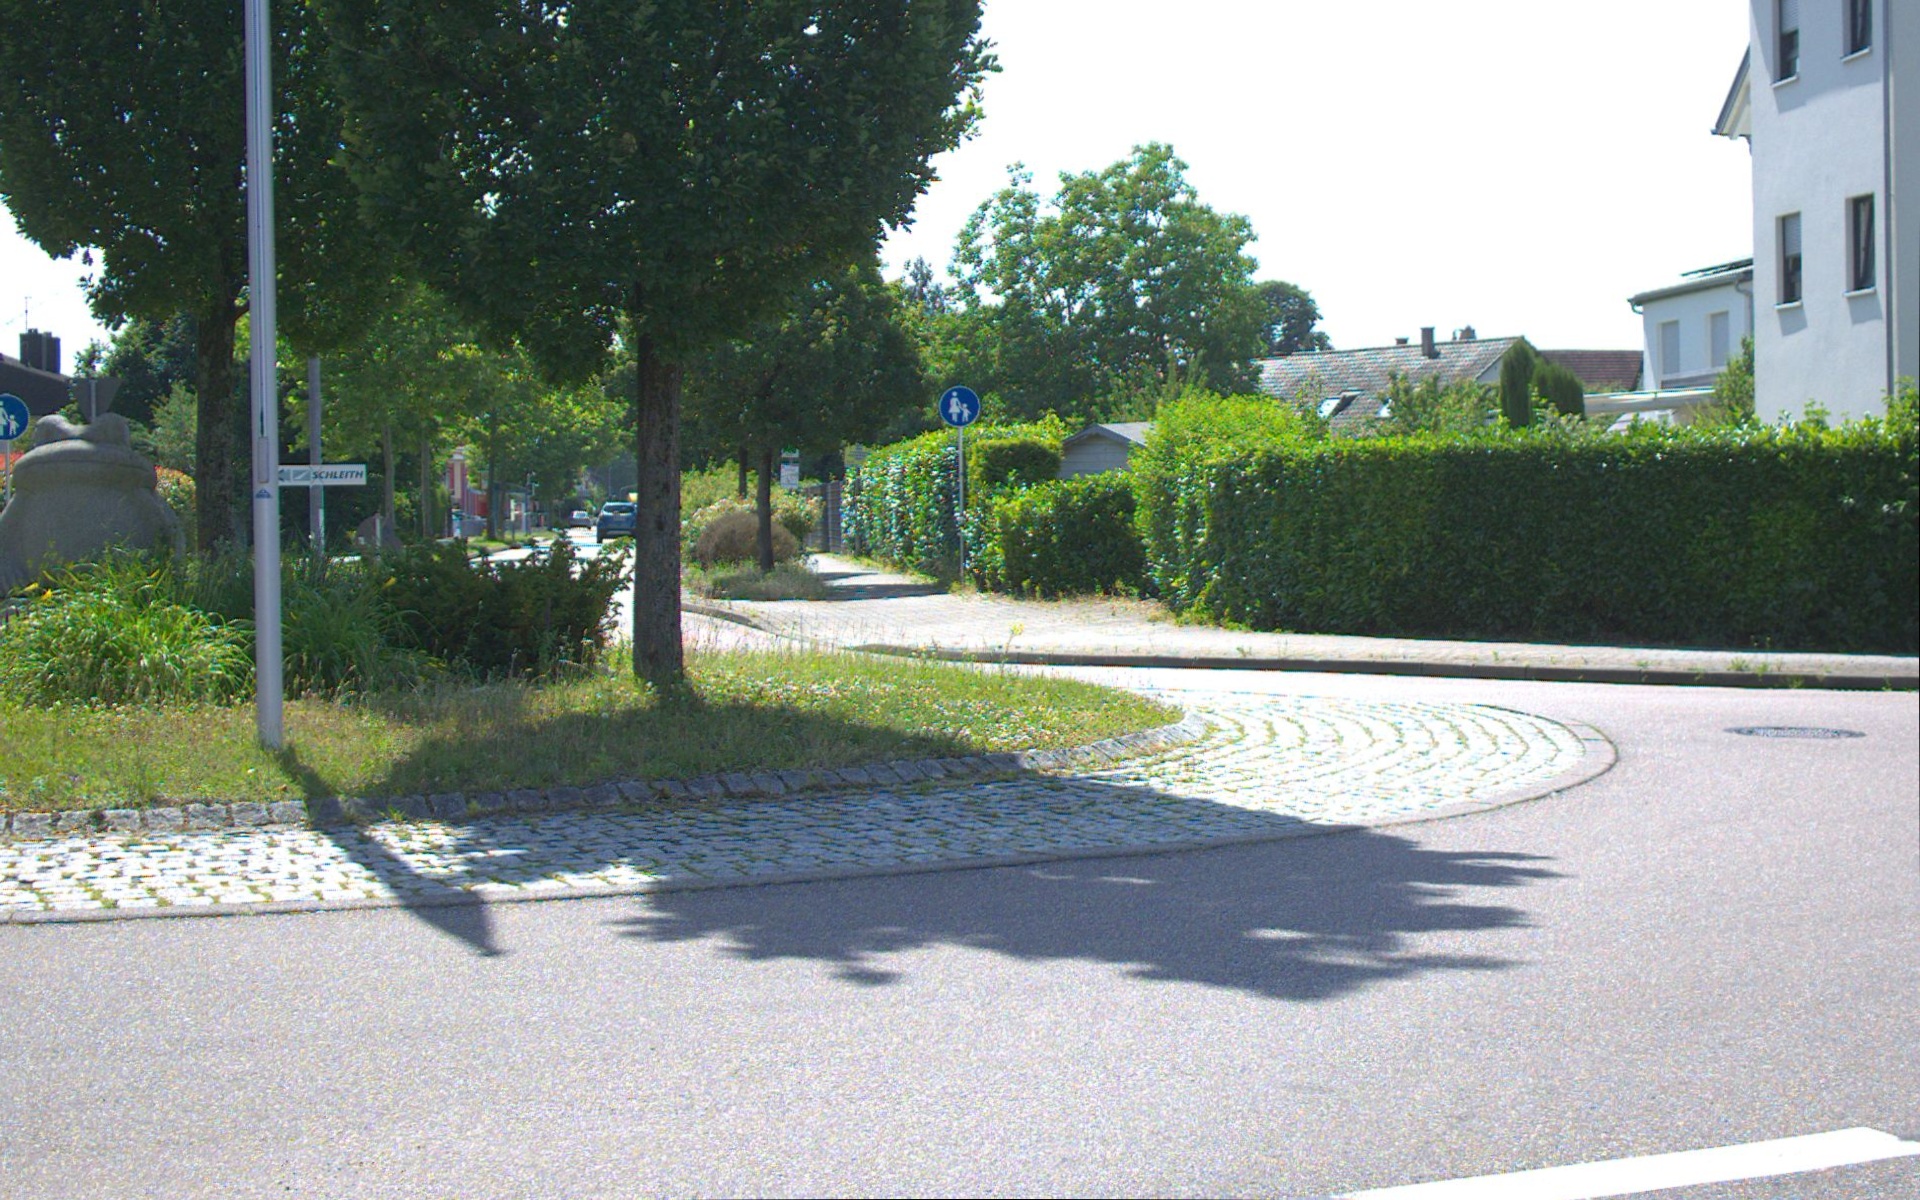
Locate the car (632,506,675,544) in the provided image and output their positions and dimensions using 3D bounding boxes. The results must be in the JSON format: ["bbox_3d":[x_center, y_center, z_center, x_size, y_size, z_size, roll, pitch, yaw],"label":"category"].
[{"bbox_3d":[-14.803,-3.624,166.413,1.993,1.764,4.001,1,1,-4],"label":"car"}]

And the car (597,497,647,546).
[{"bbox_3d":[-13.403,-3.111,136.592,1.922,1.879,4.001,1,1,-5],"label":"car"}]
